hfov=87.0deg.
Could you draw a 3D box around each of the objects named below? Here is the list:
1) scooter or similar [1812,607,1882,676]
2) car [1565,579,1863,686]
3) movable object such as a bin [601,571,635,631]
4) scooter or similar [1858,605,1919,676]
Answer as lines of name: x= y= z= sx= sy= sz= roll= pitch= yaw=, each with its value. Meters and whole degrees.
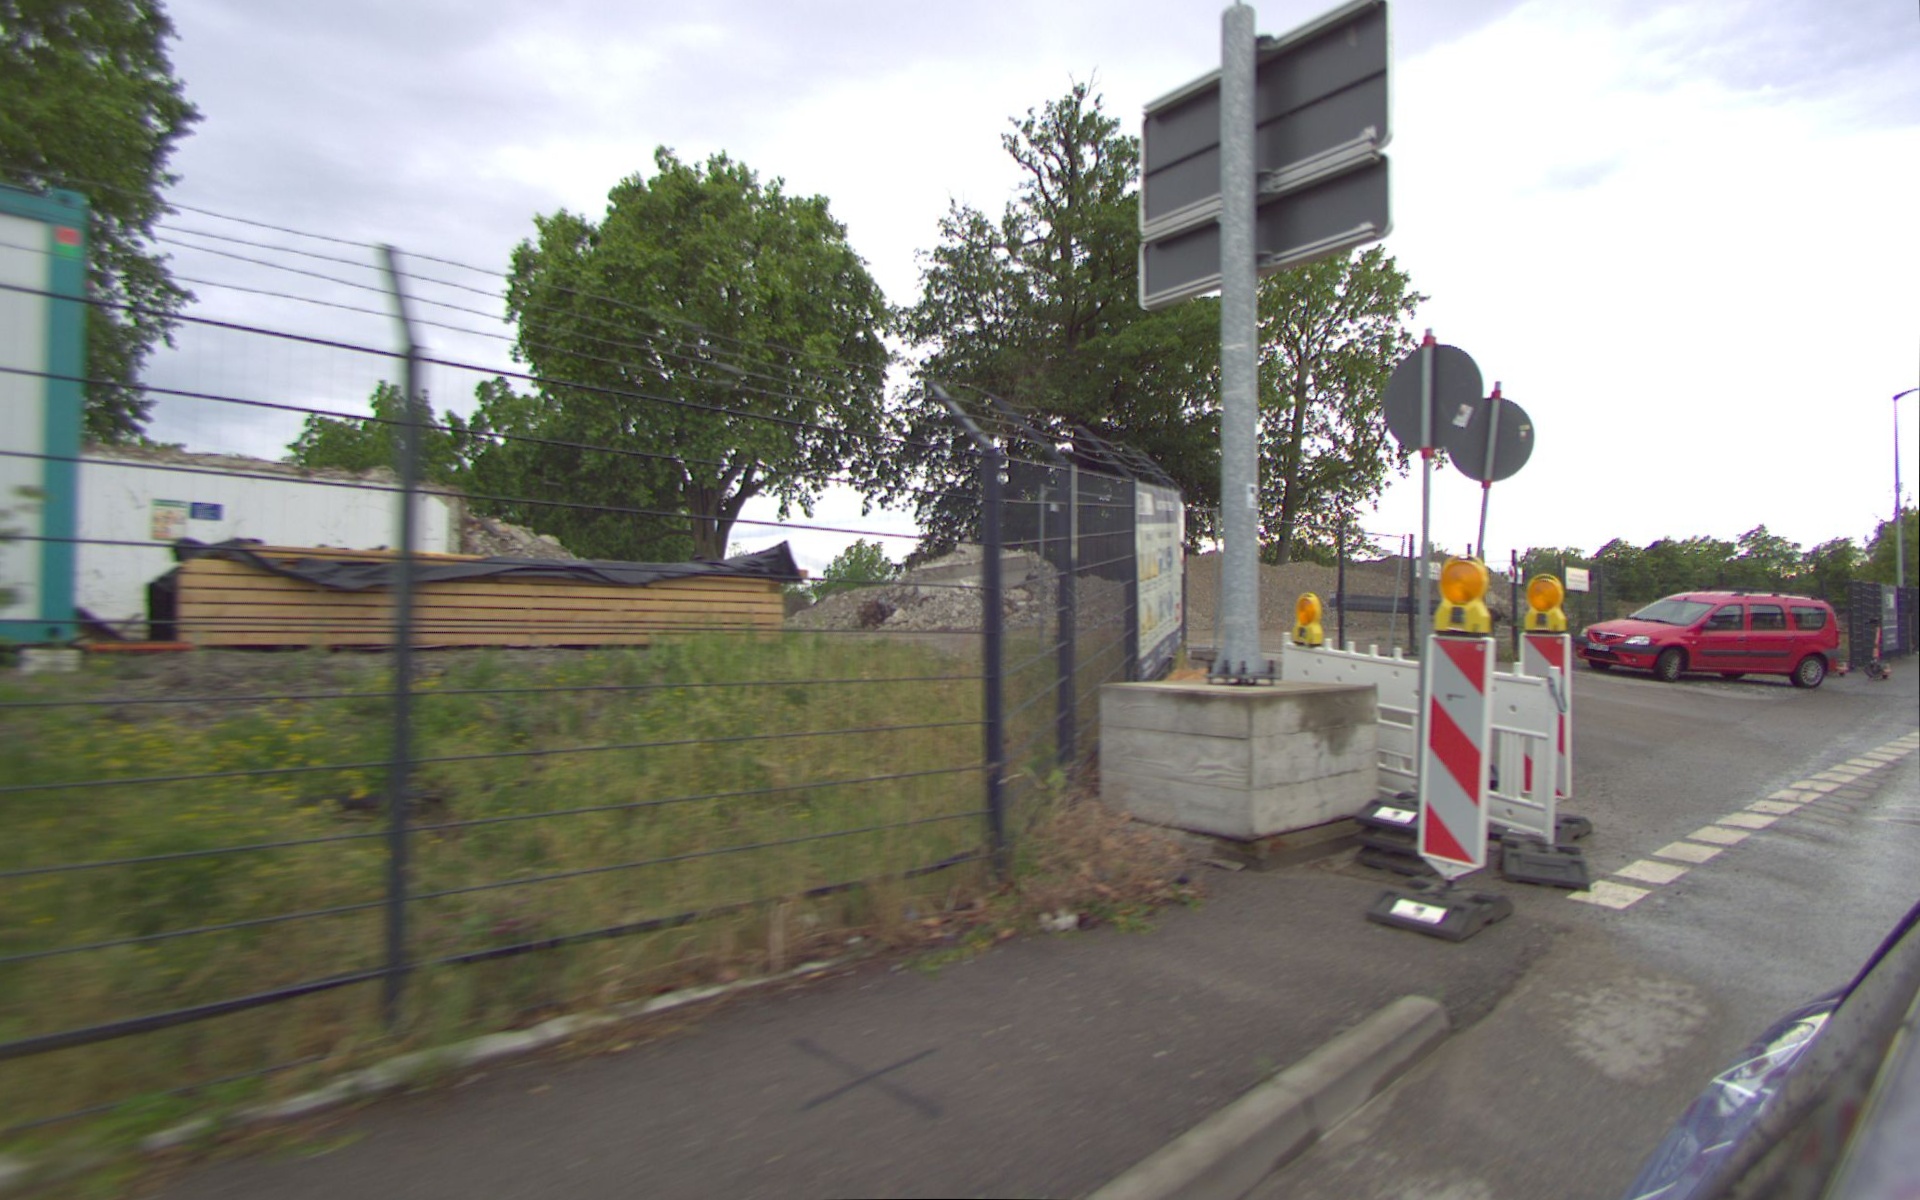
scooter or similar: x=18.510 y=0.834 z=21.104 sx=1.875 sy=1.368 sz=0.617 roll=0 pitch=-1 yaw=-34
car: x=13.697 y=0.550 z=18.503 sx=4.318 sy=1.817 sz=1.828 roll=0 pitch=-1 yaw=-9
movable object such as a bin: x=-13.450 y=0.033 z=39.807 sx=1.086 sy=2.280 sz=1.385 roll=0 pitch=0 yaw=-27
scooter or similar: x=18.829 y=0.790 z=20.394 sx=1.875 sy=1.368 sz=0.617 roll=0 pitch=-1 yaw=-34
